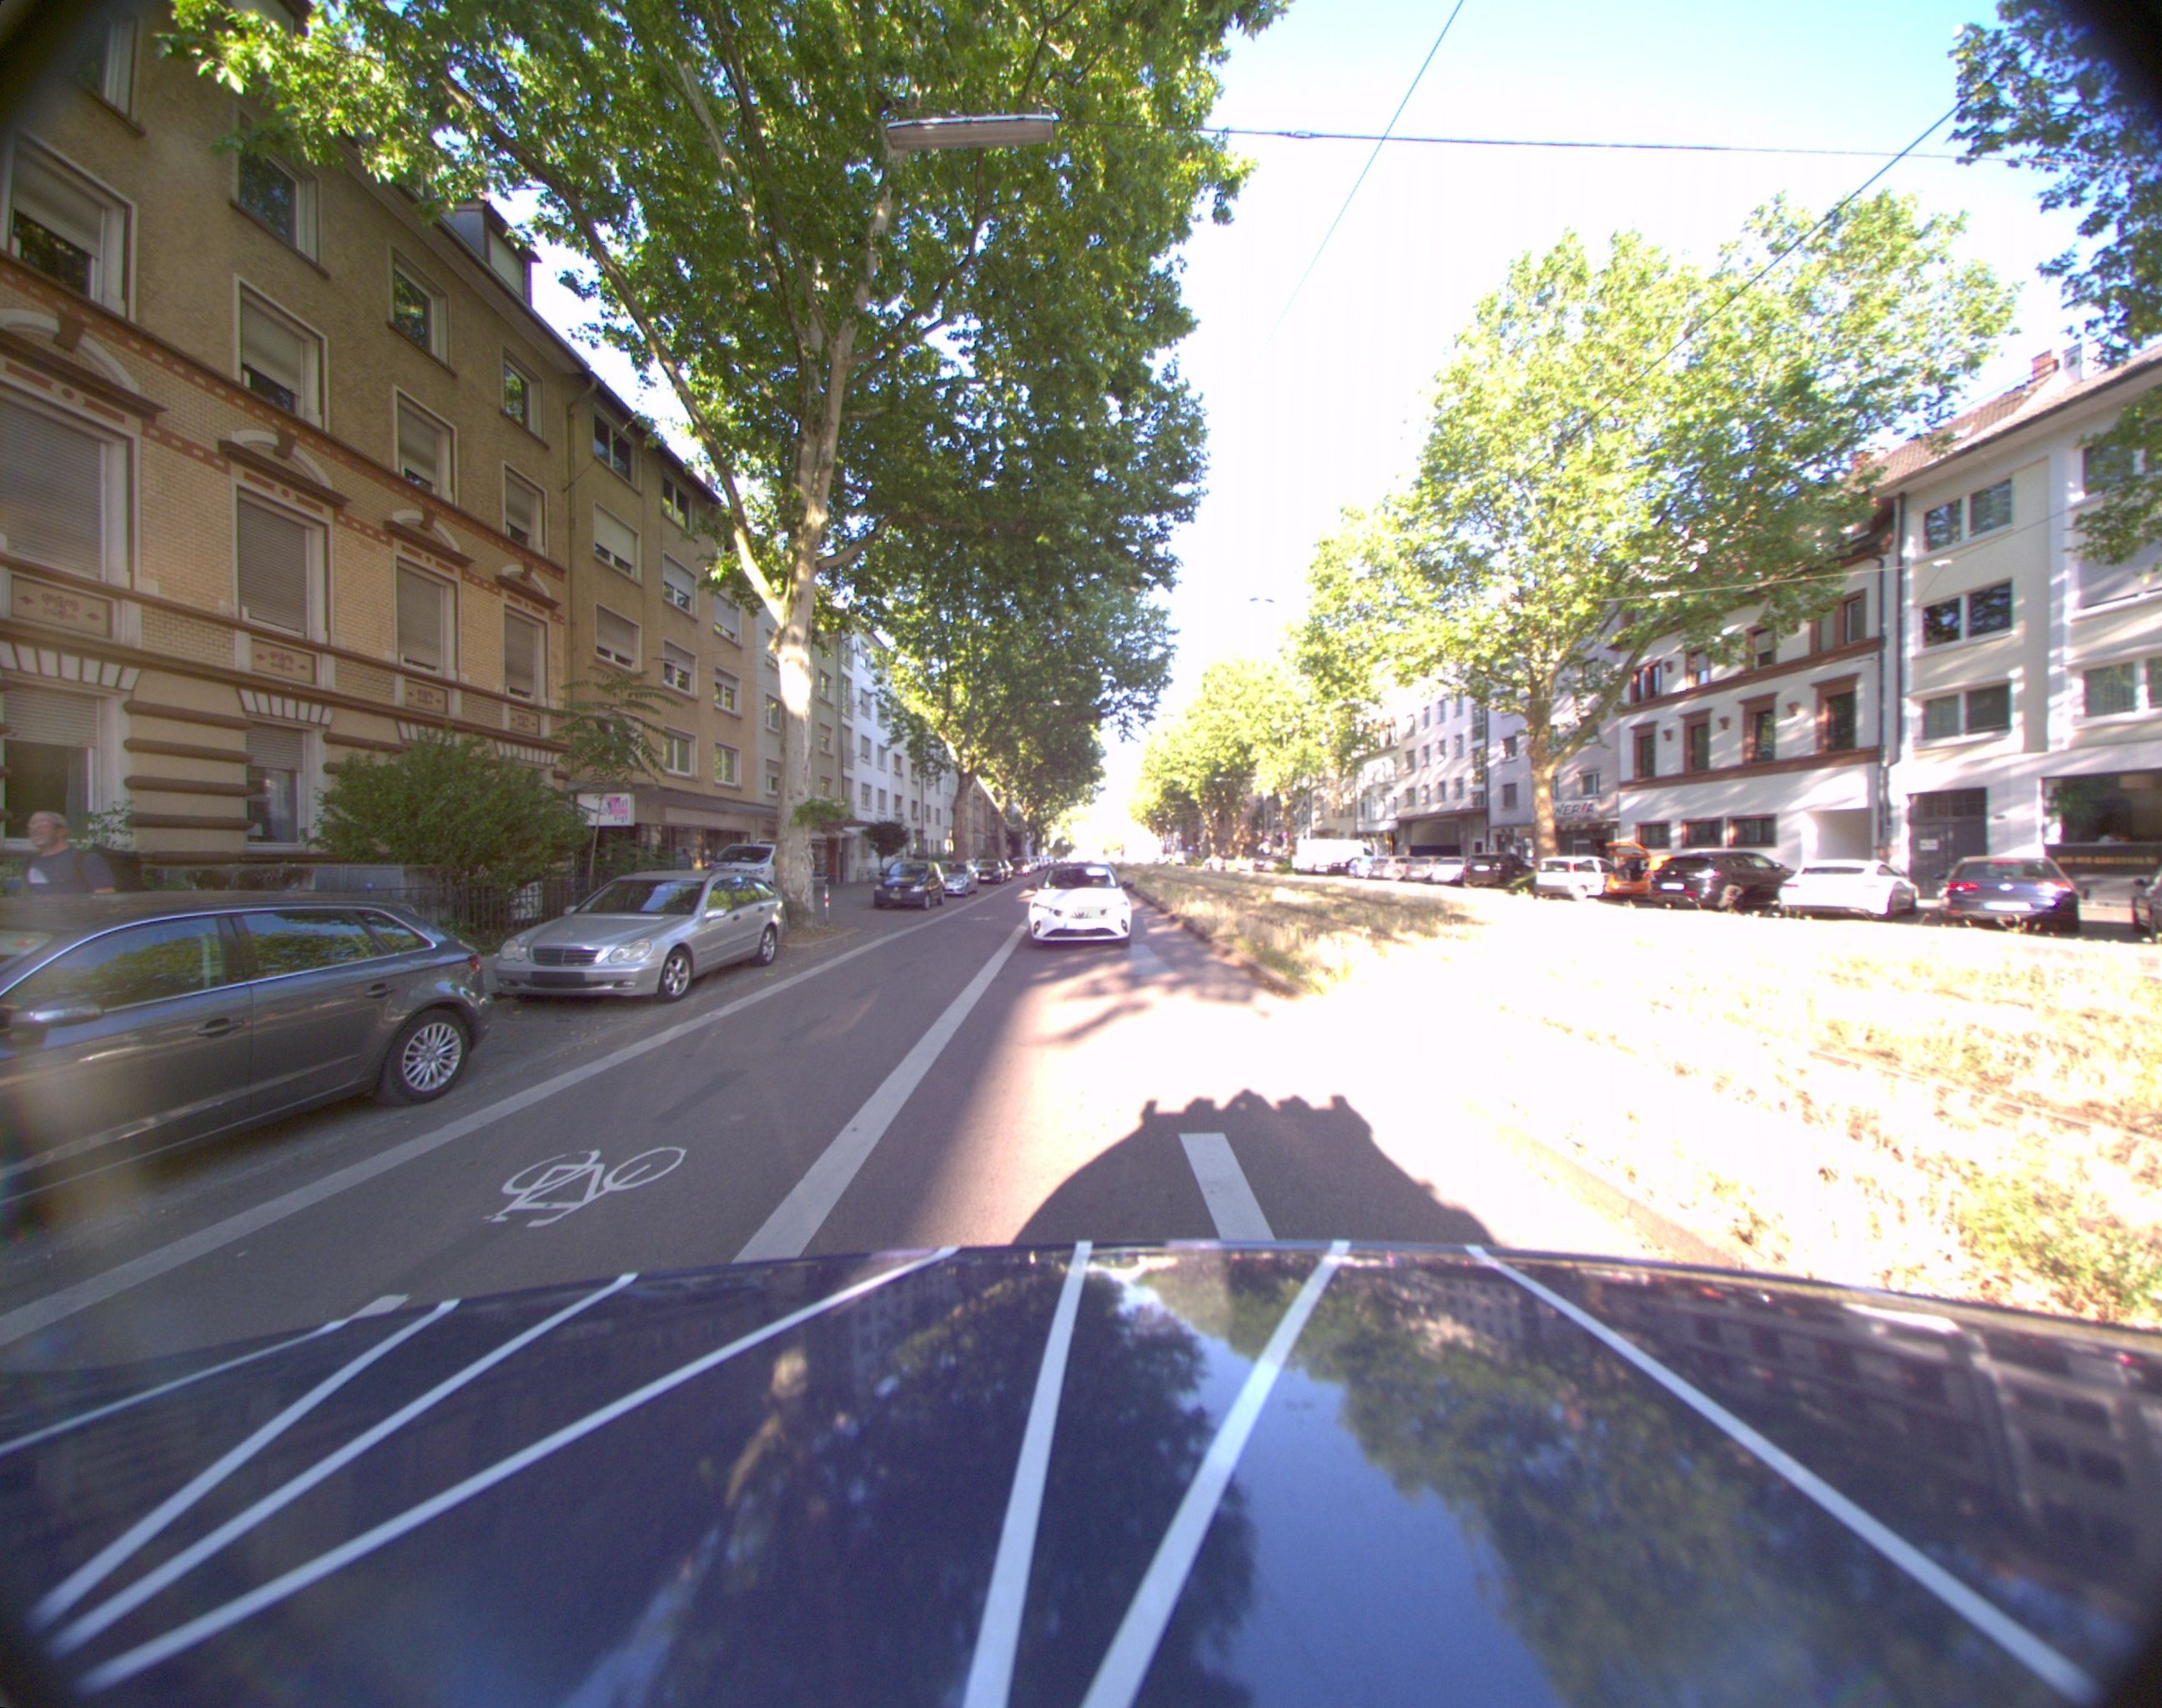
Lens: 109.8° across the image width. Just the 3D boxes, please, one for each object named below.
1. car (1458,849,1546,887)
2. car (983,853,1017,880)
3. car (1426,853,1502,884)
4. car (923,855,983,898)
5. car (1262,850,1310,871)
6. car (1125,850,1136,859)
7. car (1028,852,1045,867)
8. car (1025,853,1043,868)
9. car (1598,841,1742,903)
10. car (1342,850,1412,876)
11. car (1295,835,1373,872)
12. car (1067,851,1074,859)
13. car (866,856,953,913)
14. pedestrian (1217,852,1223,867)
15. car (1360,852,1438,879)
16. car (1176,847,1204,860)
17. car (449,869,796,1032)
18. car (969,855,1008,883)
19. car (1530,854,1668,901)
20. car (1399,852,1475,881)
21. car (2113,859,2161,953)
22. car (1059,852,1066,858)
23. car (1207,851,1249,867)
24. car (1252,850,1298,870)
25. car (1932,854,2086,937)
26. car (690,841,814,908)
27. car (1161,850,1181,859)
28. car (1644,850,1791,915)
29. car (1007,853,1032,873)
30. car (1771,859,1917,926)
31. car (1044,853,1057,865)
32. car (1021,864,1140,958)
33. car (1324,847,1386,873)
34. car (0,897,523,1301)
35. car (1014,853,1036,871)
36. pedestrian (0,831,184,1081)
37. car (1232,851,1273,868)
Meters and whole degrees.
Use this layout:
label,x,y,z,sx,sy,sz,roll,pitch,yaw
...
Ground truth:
label,x,y,z,sx,sy,sz,roll,pitch,yaw
car,18.824,0.581,33.933,4.266,1.605,1.902,-1,1,-37
car,-5.386,0.799,50.902,1.803,1.599,4.369,2,0,-1
car,19.005,0.685,37.633,4.265,1.451,1.598,-1,1,-36
car,-5.337,0.901,32.244,1.803,1.599,4.369,2,0,-1
car,18.830,0.569,69.751,4.005,1.805,1.995,-1,1,-27
car,15.089,0.151,230.620,2.963,2.407,6.327,-2,1,1
car,-5.385,0.706,93.004,1.803,1.742,4.104,2,0,-1
car,-5.381,0.734,86.681,1.803,1.599,4.104,2,0,-1
car,19.489,0.551,25.167,4.260,1.932,1.514,0,1,-15
car,18.793,0.542,48.276,4.005,1.608,1.995,-1,0,-27
car,19.191,-0.039,57.580,5.619,2.684,2.176,-1,1,-24
car,-3.095,0.268,222.217,1.998,2.002,3.999,-2,1,0
car,-5.405,0.894,24.503,1.803,1.599,4.369,2,0,-1
pedestrian,15.083,0.579,82.614,0.620,1.588,0.422,0,1,1
car,18.881,0.657,45.149,4.004,1.509,1.996,-1,0,-20
car,18.691,-0.041,129.978,4.952,2.200,2.096,-1,1,-42
car,-5.382,1.005,9.778,1.803,1.446,4.511,2,0,-1
car,-5.460,0.841,45.433,1.803,1.494,4.369,2,0,-1
car,18.144,0.778,26.638,4.260,1.548,1.641,0,1,-15
car,19.209,0.633,40.953,4.265,1.449,1.902,-1,1,-36
car,19.084,0.821,12.704,3.979,1.424,1.738,-1,-1,-42
car,-5.998,0.278,251.148,1.998,2.002,4.000,-2,1,1
car,16.104,0.499,83.377,4.234,1.696,1.999,0,0,-4
car,18.653,0.560,73.023,4.005,1.805,1.995,-1,1,-27
car,19.298,0.769,15.977,3.979,1.495,1.827,-1,1,-42
car,-10.372,0.588,24.373,1.933,1.864,4.677,2,0,-1
car,18.238,0.095,153.740,3.994,1.802,1.874,0,1,10
car,18.224,0.728,21.721,4.265,1.674,2.147,-1,1,-34
car,-5.360,0.752,66.250,1.803,1.599,4.104,2,0,-1
car,18.535,0.840,18.414,4.266,1.369,2.147,-1,0,-40
car,-4.366,0.714,109.504,1.803,1.598,3.702,2,0,-1
car,-0.021,0.937,14.197,1.865,1.394,3.931,-2,0,0
car,19.767,0.438,54.842,4.005,1.805,1.995,-1,1,-27
car,-5.199,1.061,3.612,1.802,1.393,4.370,2,0,1
car,-5.427,0.767,73.459,1.803,1.599,4.104,2,0,-1
pedestrian,-7.483,0.697,5.619,0.728,1.701,0.816,2,1,0
car,18.390,0.564,81.537,4.005,1.696,1.995,-1,1,-27
